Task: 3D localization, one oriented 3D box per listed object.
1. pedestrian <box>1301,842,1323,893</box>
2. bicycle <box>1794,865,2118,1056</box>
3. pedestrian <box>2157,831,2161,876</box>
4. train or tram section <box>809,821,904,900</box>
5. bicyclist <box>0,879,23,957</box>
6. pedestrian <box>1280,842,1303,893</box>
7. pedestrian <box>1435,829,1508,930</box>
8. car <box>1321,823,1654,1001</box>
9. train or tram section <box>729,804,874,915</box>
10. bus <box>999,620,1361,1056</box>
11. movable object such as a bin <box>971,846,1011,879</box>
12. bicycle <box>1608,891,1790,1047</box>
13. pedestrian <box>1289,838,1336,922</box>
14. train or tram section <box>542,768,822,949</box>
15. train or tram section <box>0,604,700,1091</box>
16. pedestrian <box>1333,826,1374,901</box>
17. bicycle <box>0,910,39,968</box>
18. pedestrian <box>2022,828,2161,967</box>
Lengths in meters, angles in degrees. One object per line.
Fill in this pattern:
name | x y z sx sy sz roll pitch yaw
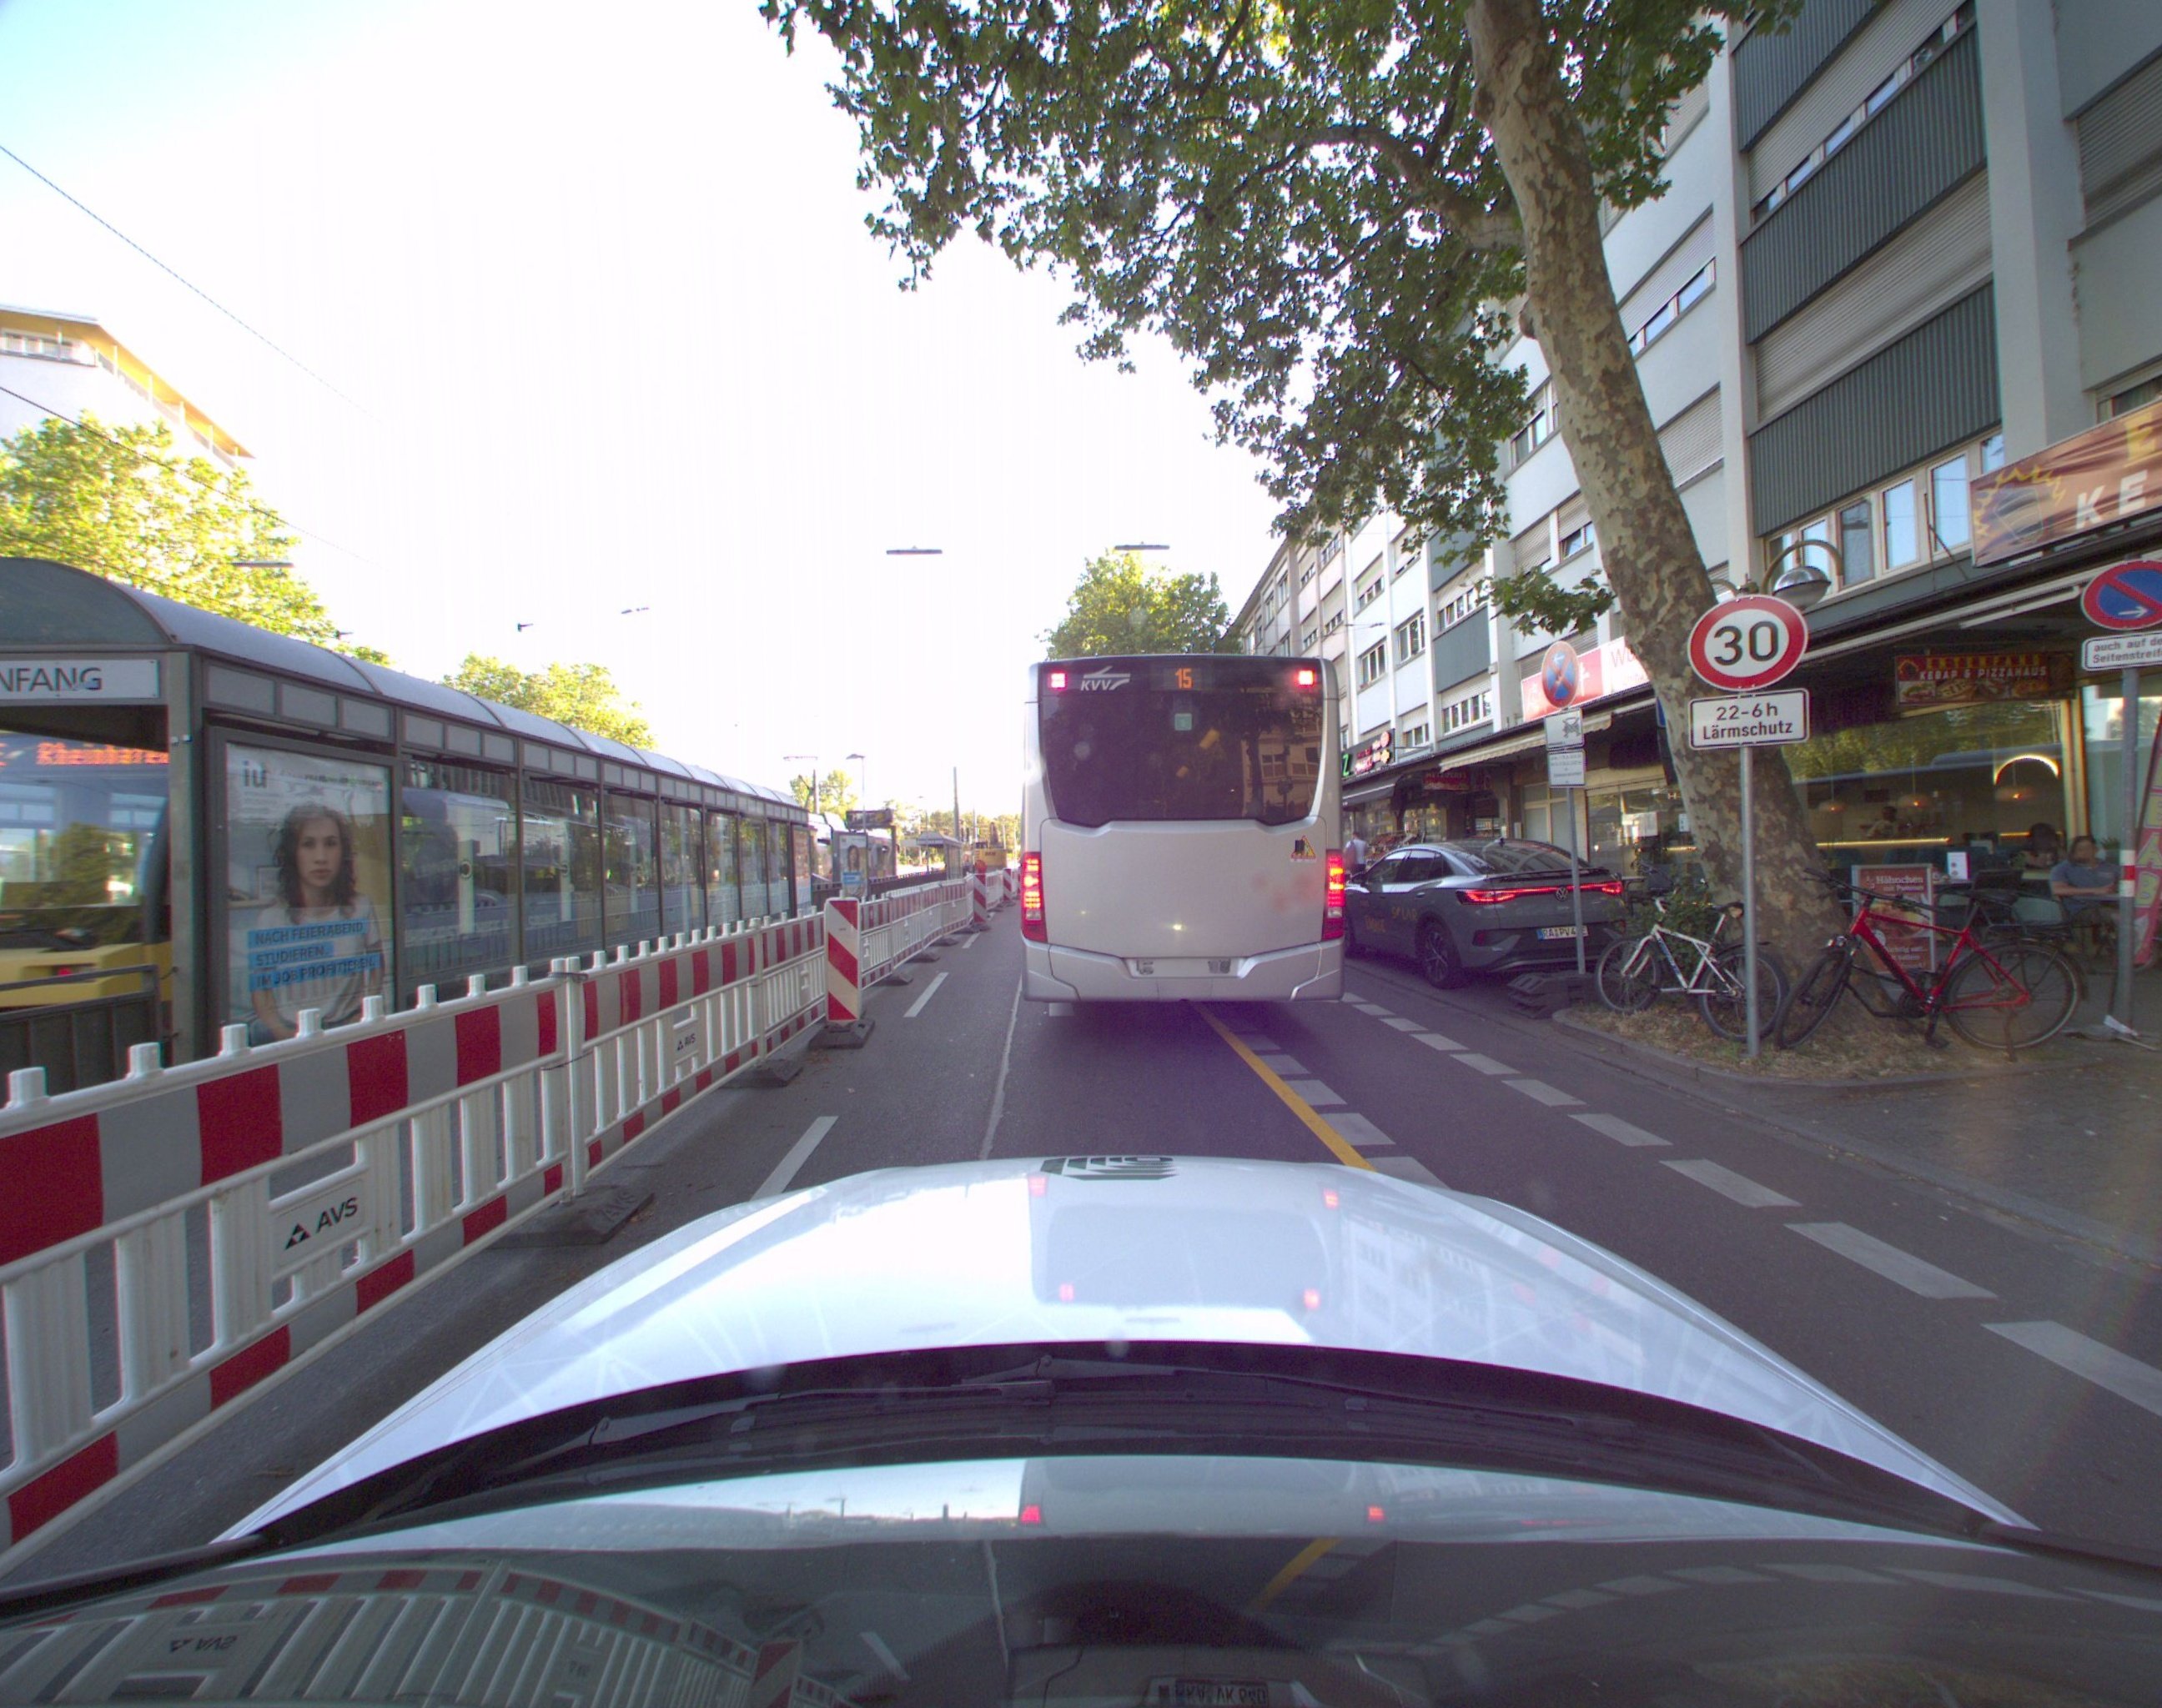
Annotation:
pedestrian | 9.303 0.547 32.829 0.610 2.014 0.696 -2 -1 1
bicycle | 5.501 0.680 5.173 1.450 1.066 0.297 -6 2 13
pedestrian | 9.569 0.393 6.610 0.612 1.243 0.714 -5 -1 11
train or tram section | -11.183 0.347 41.701 2.812 3.487 10.319 -2 0 -5
bicyclist | -23.031 1.367 17.180 0.557 1.632 0.623 -2 -1 -6
pedestrian | 8.485 0.550 32.898 0.688 2.014 0.696 -2 -1 1
pedestrian | 6.427 0.401 13.394 0.882 1.581 0.742 -1 -1 -42
car | 4.600 0.572 10.077 1.736 1.597 4.294 -4 0 -3
train or tram section | -10.324 0.222 31.453 2.831 3.487 10.318 -2 0 -5
bus | 0.928 -0.110 11.169 2.598 3.170 10.297 -1 0 2
movable object such as a bin | -6.992 0.653 63.820 2.800 2.462 3.995 -2 0 -3
bicycle | 4.488 0.793 5.992 0.294 0.927 1.127 -6 2 -8
pedestrian | 4.930 0.546 17.384 0.750 1.726 0.660 -2 -1 -1
train or tram section | -9.465 0.123 21.164 2.866 3.487 10.320 -2 0 -5
train or tram section | -8.603 0.012 10.924 2.831 3.487 10.319 -2 0 -5
pedestrian | 7.520 0.263 22.485 0.766 2.013 0.714 -4 -1 1
bicycle | -22.999 1.820 16.899 0.557 1.186 1.766 -2 -1 -5
pedestrian | 9.632 0.389 7.647 0.673 1.203 0.706 -5 -1 11
